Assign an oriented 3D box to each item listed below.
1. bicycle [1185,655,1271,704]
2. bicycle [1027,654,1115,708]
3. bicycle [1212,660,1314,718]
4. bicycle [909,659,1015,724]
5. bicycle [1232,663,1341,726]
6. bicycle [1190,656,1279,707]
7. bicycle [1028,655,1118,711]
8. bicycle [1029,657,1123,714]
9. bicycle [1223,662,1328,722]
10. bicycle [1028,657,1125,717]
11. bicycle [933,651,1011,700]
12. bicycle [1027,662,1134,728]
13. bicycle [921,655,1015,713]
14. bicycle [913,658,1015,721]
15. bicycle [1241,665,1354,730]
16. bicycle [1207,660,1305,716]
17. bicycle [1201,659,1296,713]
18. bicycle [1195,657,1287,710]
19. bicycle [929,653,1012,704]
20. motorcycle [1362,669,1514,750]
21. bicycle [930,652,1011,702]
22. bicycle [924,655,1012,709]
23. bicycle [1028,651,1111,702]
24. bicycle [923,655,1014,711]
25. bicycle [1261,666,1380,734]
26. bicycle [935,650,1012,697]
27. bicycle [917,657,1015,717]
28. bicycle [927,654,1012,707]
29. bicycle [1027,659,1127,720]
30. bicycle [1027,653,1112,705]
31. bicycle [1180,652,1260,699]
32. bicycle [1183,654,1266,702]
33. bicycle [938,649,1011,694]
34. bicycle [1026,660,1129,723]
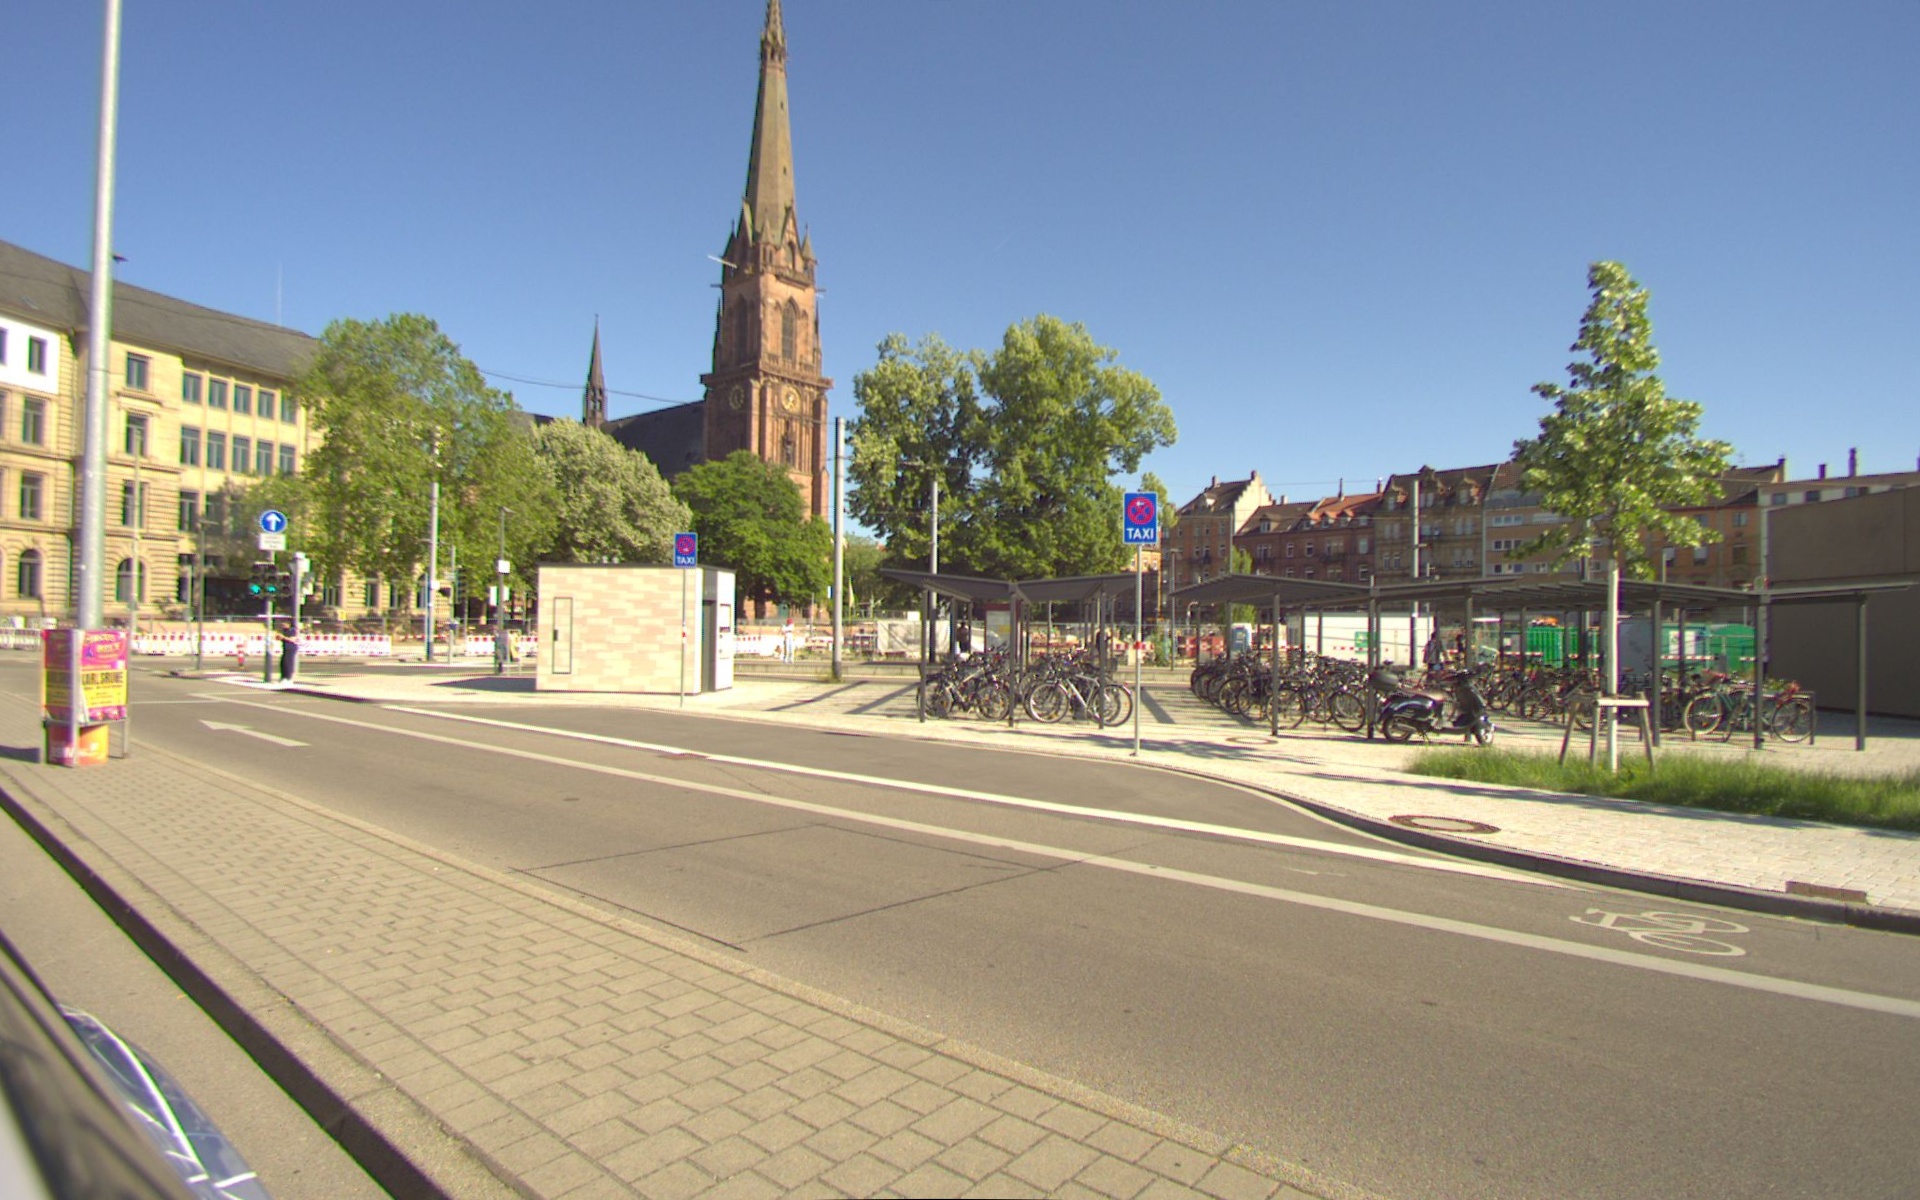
[{"bbox_3d":[6.013,1.777,22.771,1.765,1.046,0.567,1,-3,4],"label":"bicycle"},{"bbox_3d":[2.296,1.666,20.990,1.765,1.046,0.567,1,-3,4],"label":"bicycle"},{"bbox_3d":[5.802,1.695,19.421,1.765,1.046,0.567,1,-3,4],"label":"bicycle"},{"bbox_3d":[0.047,1.568,17.436,1.765,1.046,0.567,1,-3,4],"label":"bicycle"},{"bbox_3d":[5.833,1.679,18.132,1.765,1.046,0.567,1,-3,4],"label":"bicycle"},{"bbox_3d":[5.919,1.752,21.902,1.765,1.046,0.567,1,-3,4],"label":"bicycle"},{"bbox_3d":[2.265,1.658,20.389,1.765,1.046,0.567,1,-3,4],"label":"bicycle"},{"bbox_3d":[2.246,1.657,19.774,1.765,1.046,0.567,1,-3,4],"label":"bicycle"},{"bbox_3d":[5.836,1.697,18.790,1.765,1.046,0.567,1,-3,4],"label":"bicycle"},{"bbox_3d":[2.197,1.637,19.175,1.765,1.046,0.567,1,-3,4],"label":"bicycle"},{"bbox_3d":[0.285,1.722,23.255,1.765,1.046,0.567,1,-3,4],"label":"bicycle"},{"bbox_3d":[2.036,1.603,17.275,1.765,1.046,0.567,1,-3,4],"label":"bicycle"},{"bbox_3d":[0.157,1.618,19.529,1.765,1.046,0.567,1,-3,4],"label":"bicycle"},{"bbox_3d":[0.084,1.583,18.087,1.765,1.046,0.567,1,-3,4],"label":"bicycle"},{"bbox_3d":[5.833,1.678,17.546,1.765,1.046,0.567,1,-3,4],"label":"bicycle"},{"bbox_3d":[5.854,1.733,20.093,1.765,1.046,0.567,1,-3,4],"label":"bicycle"},{"bbox_3d":[5.893,1.751,20.707,1.765,1.046,0.567,1,-3,4],"label":"bicycle"},{"bbox_3d":[5.900,1.750,21.307,1.765,1.046,0.567,1,-3,4],"label":"bicycle"},{"bbox_3d":[0.230,1.701,22.058,1.765,1.046,0.567,1,-3,4],"label":"bicycle"},{"bbox_3d":[7.164,1.629,15.238,1.962,1.128,0.593,0,-2,8],"label":"motorcycle"},{"bbox_3d":[0.253,1.711,22.653,1.765,1.046,0.567,1,-3,4],"label":"bicycle"},{"bbox_3d":[0.181,1.673,20.776,1.765,1.046,0.567,1,-3,4],"label":"bicycle"},{"bbox_3d":[2.388,1.676,22.229,1.765,1.046,0.567,1,-3,4],"label":"bicycle"},{"bbox_3d":[0.175,1.641,20.160,1.765,1.046,0.567,1,-3,4],"label":"bicycle"},{"bbox_3d":[6.018,1.662,16.949,1.765,1.046,0.567,1,-3,4],"label":"bicycle"},{"bbox_3d":[0.331,1.732,23.847,1.765,1.046,0.567,1,-3,4],"label":"bicycle"},{"bbox_3d":[0.119,1.605,18.842,1.765,1.046,0.567,1,-3,4],"label":"bicycle"},{"bbox_3d":[0.209,1.687,21.392,1.765,1.046,0.567,1,-3,4],"label":"bicycle"},{"bbox_3d":[2.133,1.624,18.565,1.765,1.046,0.567,1,-3,4],"label":"bicycle"},{"bbox_3d":[2.325,1.677,21.629,1.765,1.046,0.567,1,-3,4],"label":"bicycle"},{"bbox_3d":[6.221,1.800,24.260,1.765,1.046,0.567,1,-3,4],"label":"bicycle"},{"bbox_3d":[6.122,1.798,23.495,1.765,1.046,0.567,1,-3,4],"label":"bicycle"},{"bbox_3d":[0.370,1.768,25.100,1.765,1.046,0.567,1,-3,4],"label":"bicycle"},{"bbox_3d":[2.066,1.607,17.925,1.765,1.046,0.567,1,-3,4],"label":"bicycle"}]
